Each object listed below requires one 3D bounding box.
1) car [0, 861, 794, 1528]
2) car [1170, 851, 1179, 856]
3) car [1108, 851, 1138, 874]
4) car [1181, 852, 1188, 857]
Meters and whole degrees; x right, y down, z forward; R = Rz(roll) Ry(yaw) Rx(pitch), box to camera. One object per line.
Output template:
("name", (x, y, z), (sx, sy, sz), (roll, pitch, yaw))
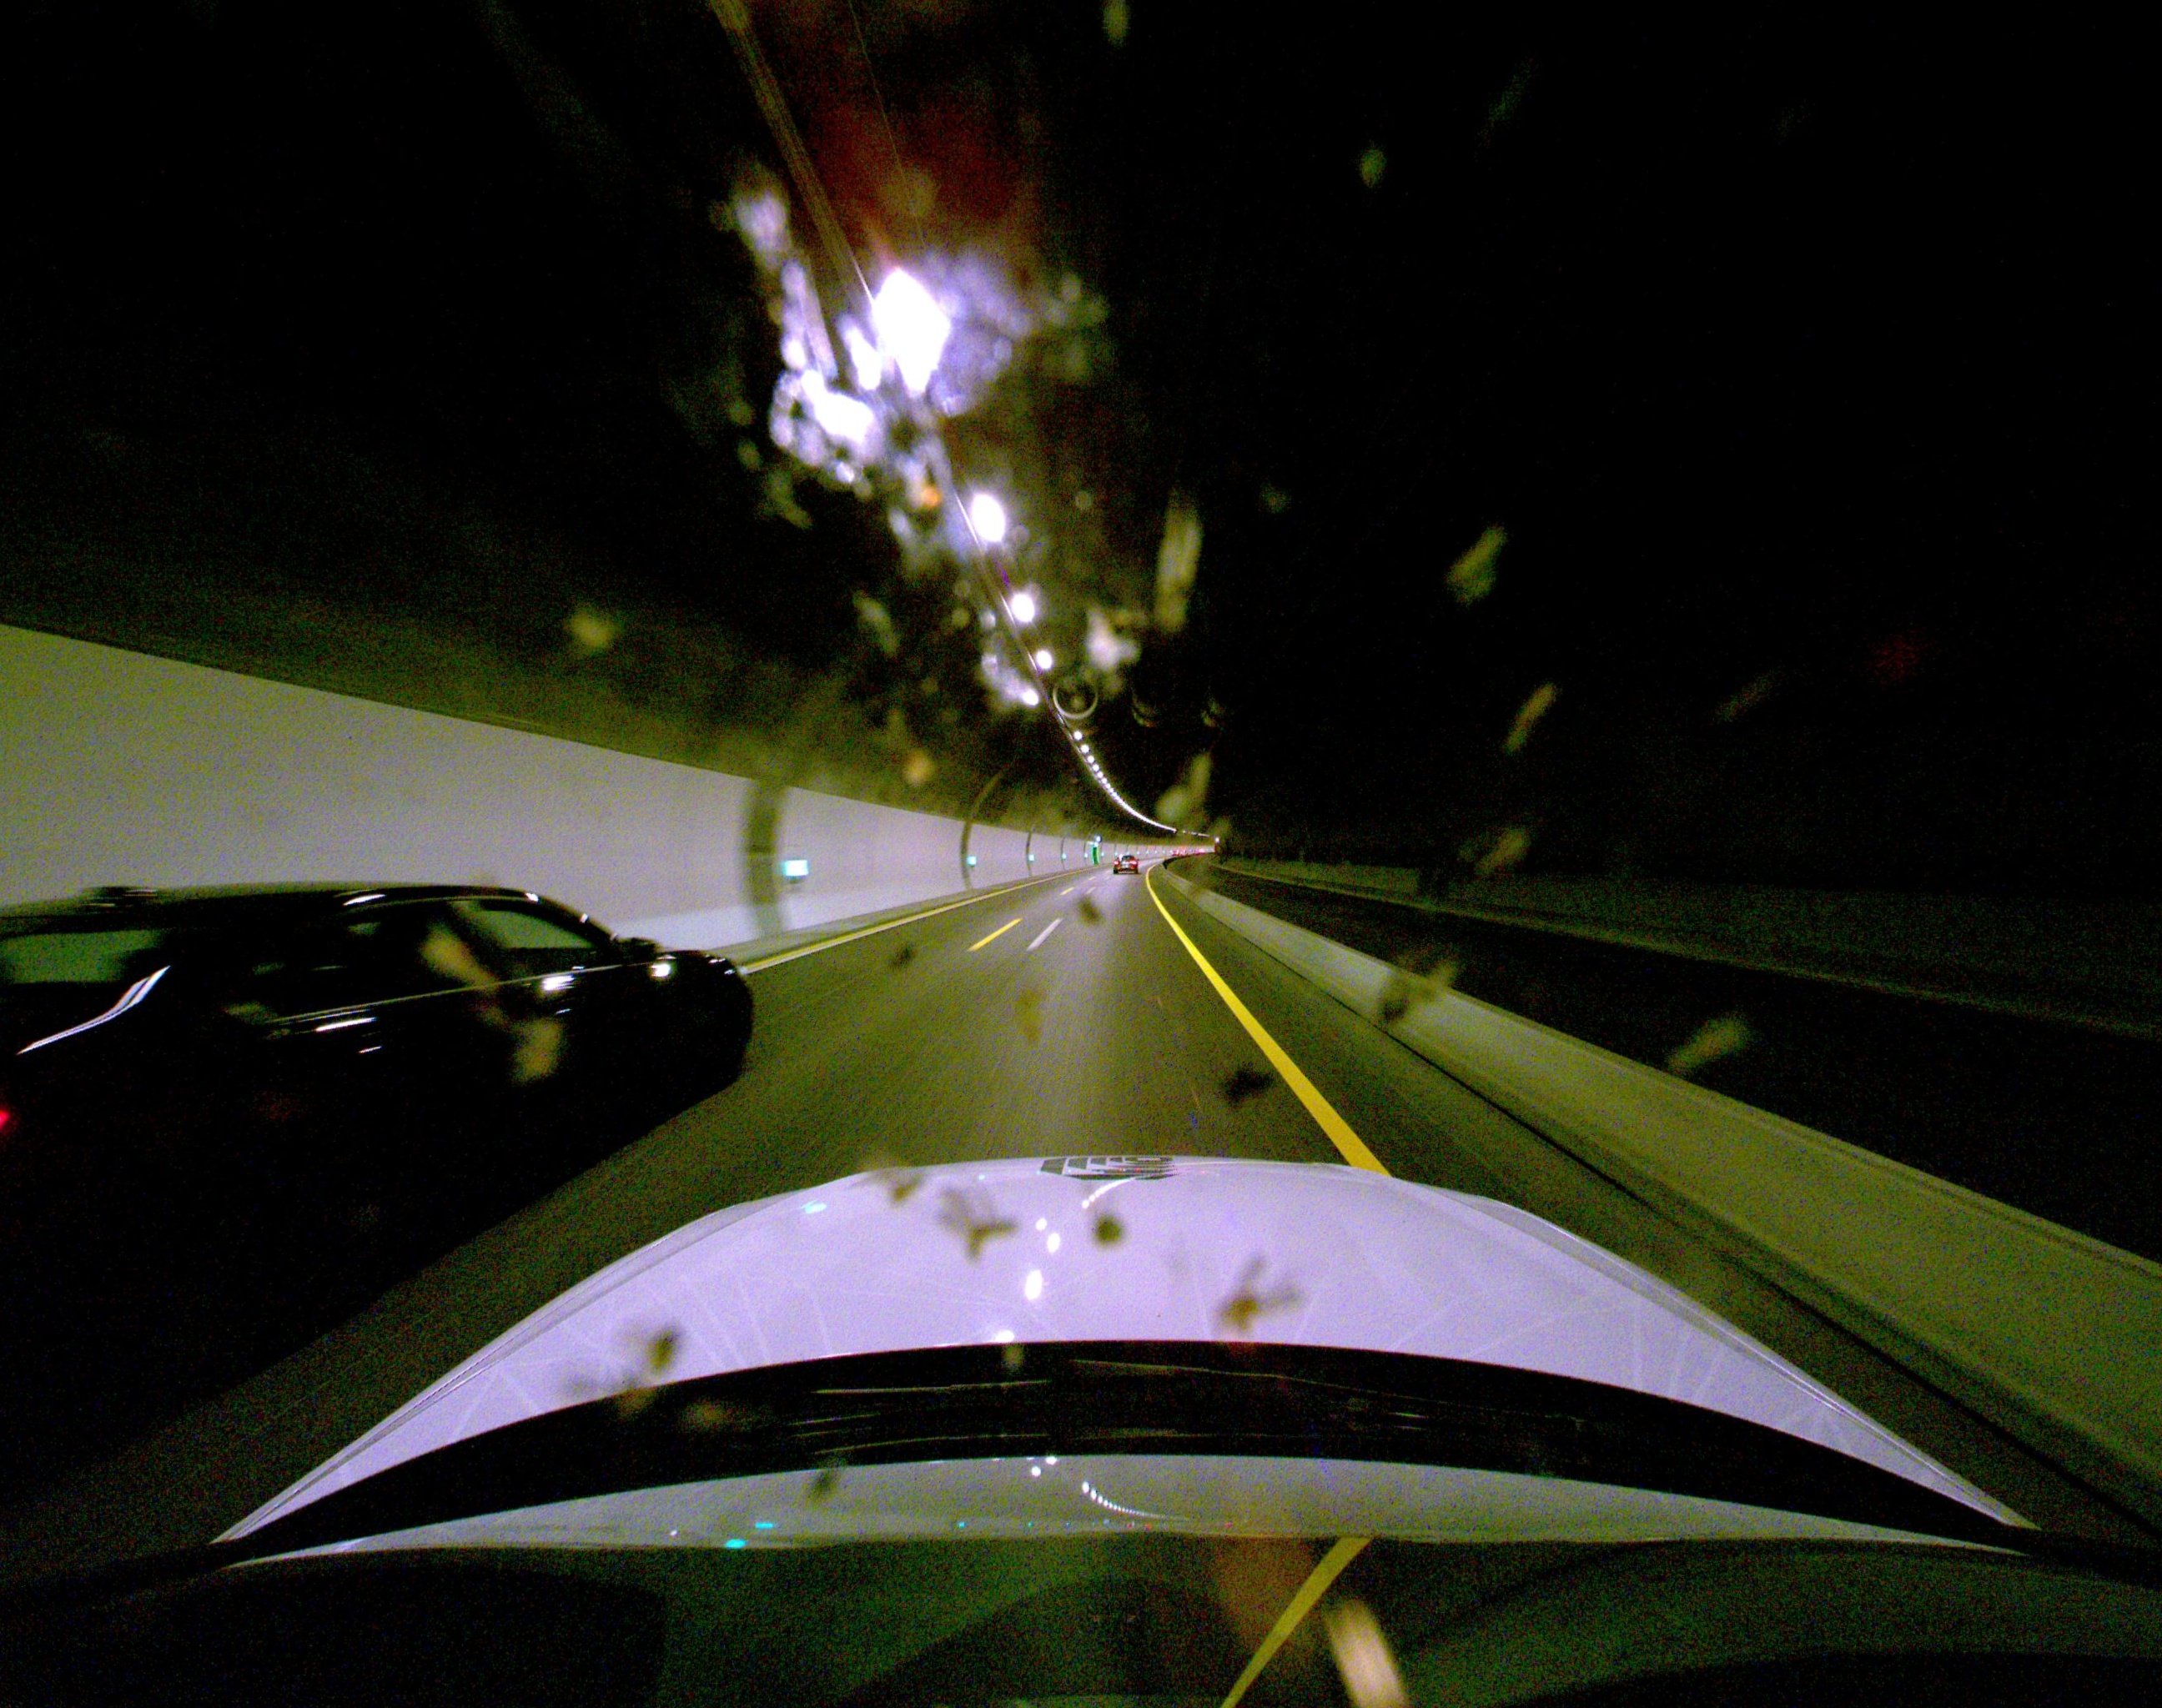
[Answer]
("car", (-3.248, 0.796, 4.023), (1.771, 1.438, 4.885), (-1, 0, 2))
("car", (27.333, -0.207, 237.992), (2.150, 1.486, 4.014), (-1, 0, 13))
("car", (3.255, 0.613, 62.380), (2.130, 1.706, 4.006), (-1, 0, 5))
("car", (28.875, 0.169, 227.295), (1.584, 1.333, 3.764), (-1, 0, 13))
